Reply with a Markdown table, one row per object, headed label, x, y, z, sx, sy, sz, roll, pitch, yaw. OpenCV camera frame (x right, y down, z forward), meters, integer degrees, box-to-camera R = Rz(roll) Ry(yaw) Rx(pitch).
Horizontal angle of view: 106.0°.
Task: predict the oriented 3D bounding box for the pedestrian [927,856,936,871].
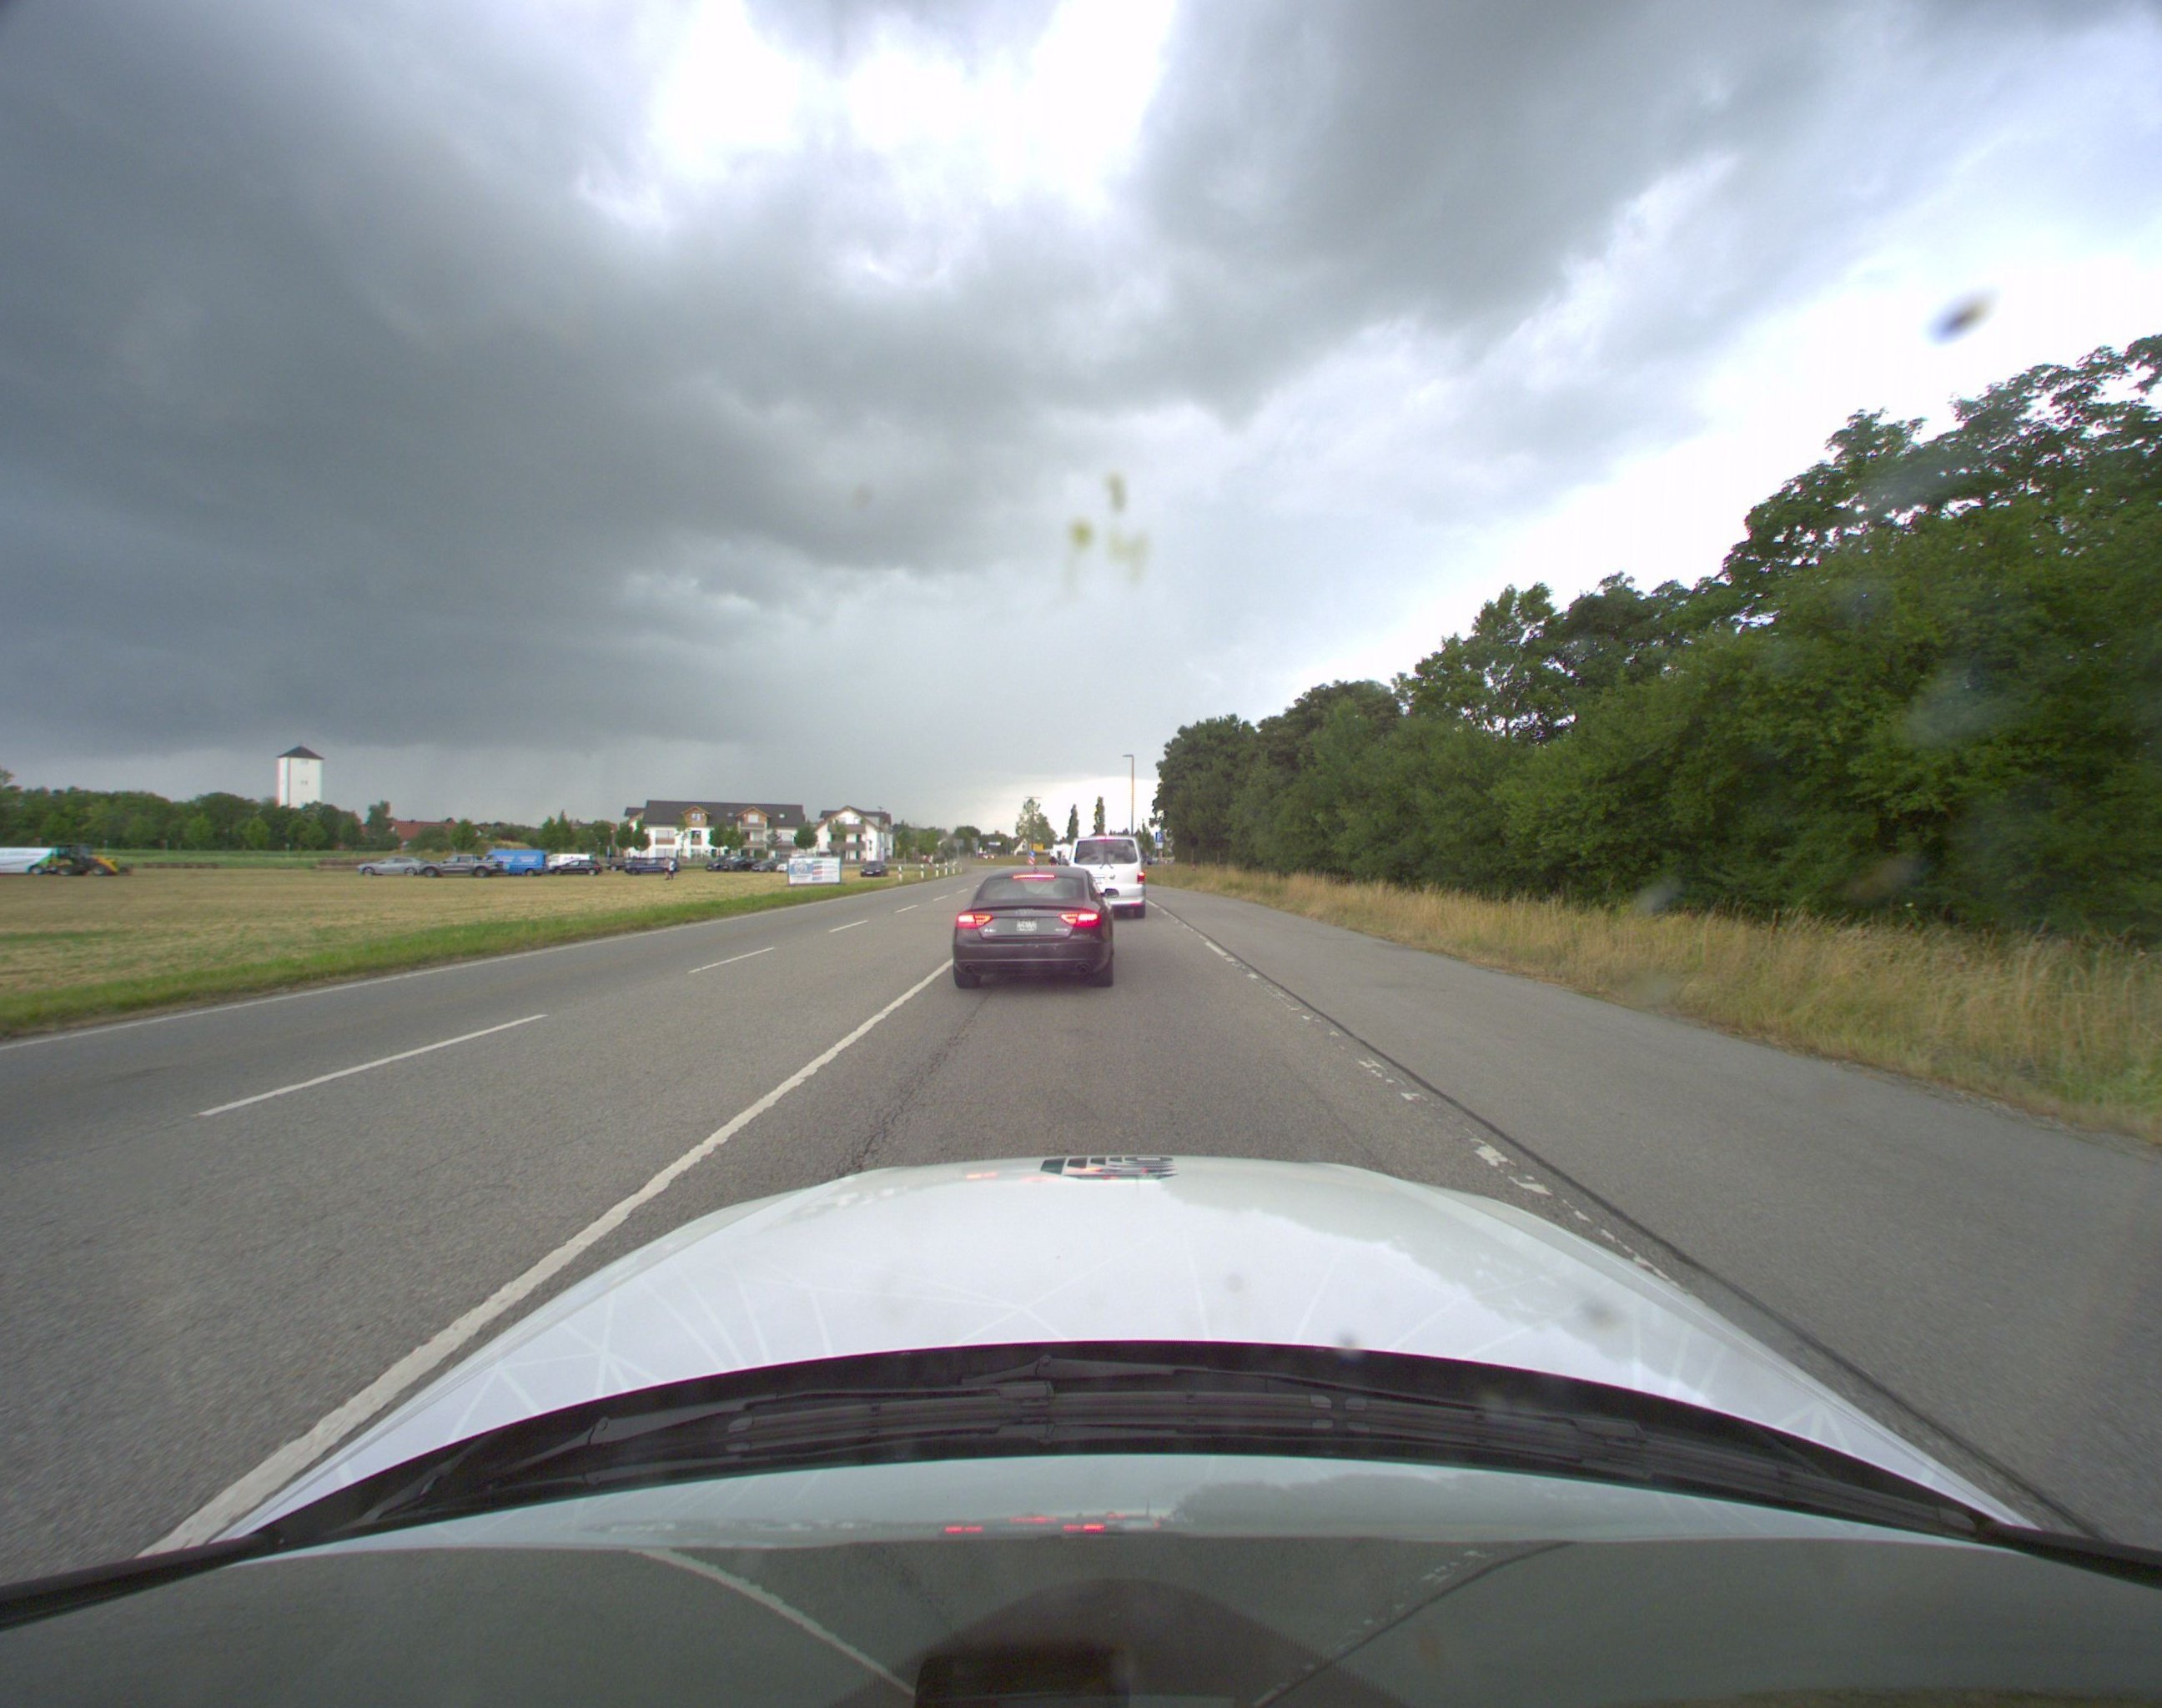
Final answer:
| label | x | y | z | sx | sy | sz | roll | pitch | yaw |
| --- | --- | --- | --- | --- | --- | --- | --- | --- | --- |
| pedestrian | -15.949 | 1.039 | 86.689 | 0.661 | 1.586 | 0.694 | 0 | -1 | -44 |

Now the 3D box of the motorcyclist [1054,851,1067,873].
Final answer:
| label | x | y | z | sx | sy | sz | roll | pitch | yaw |
| --- | --- | --- | --- | --- | --- | --- | --- | --- | --- |
| motorcyclist | -1.309 | 0.510 | 52.794 | 0.769 | 1.383 | 0.821 | 0 | 0 | 3 |

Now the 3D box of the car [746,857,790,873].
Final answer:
| label | x | y | z | sx | sy | sz | roll | pitch | yaw |
| --- | --- | --- | --- | --- | --- | --- | --- | --- | --- |
| car | -31.993 | 1.136 | 83.392 | 1.977 | 1.535 | 4.232 | 0 | 0 | 19 |

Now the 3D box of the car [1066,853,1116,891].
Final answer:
| label | x | y | z | sx | sy | sz | roll | pitch | yaw |
| --- | --- | --- | --- | --- | --- | --- | --- | --- | --- |
| car | 0.418 | 0.728 | 34.064 | 1.987 | 1.485 | 4.000 | 0 | 0 | 0 |

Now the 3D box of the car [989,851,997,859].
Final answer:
| label | x | y | z | sx | sy | sz | roll | pitch | yaw |
| --- | --- | --- | --- | --- | --- | --- | --- | --- | --- |
| car | -21.507 | 0.255 | 198.884 | 1.991 | 2.014 | 3.991 | 1 | 0 | -6 |

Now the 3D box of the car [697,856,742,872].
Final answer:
| label | x | y | z | sx | sy | sz | roll | pitch | yaw |
| --- | --- | --- | --- | --- | --- | --- | --- | --- | --- |
| car | -38.198 | 1.056 | 86.240 | 1.977 | 1.629 | 4.232 | 0 | 0 | 19 |

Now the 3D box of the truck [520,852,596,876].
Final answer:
| label | x | y | z | sx | sy | sz | roll | pitch | yaw |
| --- | --- | --- | --- | --- | --- | --- | --- | --- | --- |
| truck | -49.205 | 0.911 | 76.772 | 5.587 | 2.196 | 2.588 | 0 | 0 | -22 |

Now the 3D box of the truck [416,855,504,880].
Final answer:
| label | x | y | z | sx | sy | sz | roll | pitch | yaw |
| --- | --- | --- | --- | --- | --- | --- | --- | --- | --- |
| truck | -49.479 | 1.039 | 65.048 | 5.253 | 1.920 | 2.094 | 0 | 0 | -26 |

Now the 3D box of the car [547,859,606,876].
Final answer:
| label | x | y | z | sx | sy | sz | roll | pitch | yaw |
| --- | --- | --- | --- | --- | --- | --- | --- | --- | --- |
| car | -45.750 | 1.238 | 73.907 | 4.168 | 1.519 | 1.987 | 0 | 0 | -20 |

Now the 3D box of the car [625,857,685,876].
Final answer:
| label | x | y | z | sx | sy | sz | roll | pitch | yaw |
| --- | --- | --- | --- | --- | --- | --- | --- | --- | --- |
| car | -39.783 | 1.181 | 76.233 | 4.730 | 1.697 | 1.987 | 0 | 0 | -20 |

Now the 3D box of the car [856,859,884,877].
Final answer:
| label | x | y | z | sx | sy | sz | roll | pitch | yaw |
| --- | --- | --- | --- | --- | --- | --- | --- | --- | --- |
| car | -18.064 | 1.147 | 69.973 | 1.993 | 1.442 | 3.987 | 0 | 1 | -10 |

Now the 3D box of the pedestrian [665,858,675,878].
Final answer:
| label | x | y | z | sx | sy | sz | roll | pitch | yaw |
| --- | --- | --- | --- | --- | --- | --- | --- | --- | --- |
| pedestrian | -32.645 | 1.105 | 64.709 | 0.591 | 1.555 | 0.622 | 0 | -1 | -18 |

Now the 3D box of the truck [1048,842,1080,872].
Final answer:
| label | x | y | z | sx | sy | sz | roll | pitch | yaw |
| --- | --- | --- | --- | --- | --- | --- | --- | --- | --- |
| truck | -1.706 | 0.264 | 77.774 | 2.623 | 2.737 | 5.855 | 1 | 0 | -6 |

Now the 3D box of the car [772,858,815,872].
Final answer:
| label | x | y | z | sx | sy | sz | roll | pitch | yaw |
| --- | --- | --- | --- | --- | --- | --- | --- | --- | --- |
| car | -29.246 | 1.105 | 82.957 | 1.977 | 1.446 | 4.232 | 0 | 0 | 19 |

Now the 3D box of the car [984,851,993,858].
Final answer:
| label | x | y | z | sx | sy | sz | roll | pitch | yaw |
| --- | --- | --- | --- | --- | --- | --- | --- | --- | --- |
| car | -23.612 | 0.083 | 207.948 | 1.989 | 1.642 | 3.995 | 1 | 0 | -3 |

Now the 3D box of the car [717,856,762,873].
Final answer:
| label | x | y | z | sx | sy | sz | roll | pitch | yaw |
| --- | --- | --- | --- | --- | --- | --- | --- | --- | --- |
| car | -35.135 | 1.067 | 83.874 | 1.977 | 1.629 | 4.232 | 0 | 0 | 19 |

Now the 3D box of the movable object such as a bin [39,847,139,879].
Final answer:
| label | x | y | z | sx | sy | sz | roll | pitch | yaw |
| --- | --- | --- | --- | --- | --- | --- | --- | --- | --- |
| movable object such as a bin | -69.768 | 0.612 | 57.358 | 4.006 | 2.243 | 1.869 | 0 | 0 | -27 |

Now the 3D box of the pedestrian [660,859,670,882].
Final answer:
| label | x | y | z | sx | sy | sz | roll | pitch | yaw |
| --- | --- | --- | --- | --- | --- | --- | --- | --- | --- |
| pedestrian | -32.519 | 1.276 | 63.641 | 0.548 | 1.786 | 0.675 | 0 | 0 | -11 |

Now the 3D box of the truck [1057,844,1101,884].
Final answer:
| label | x | y | z | sx | sy | sz | roll | pitch | yaw |
| --- | --- | --- | --- | --- | --- | --- | --- | --- | --- |
| truck | -0.025 | 0.514 | 43.371 | 2.186 | 2.014 | 5.086 | 0 | 0 | 1 |

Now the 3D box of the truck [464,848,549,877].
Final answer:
| label | x | y | z | sx | sy | sz | roll | pitch | yaw |
| --- | --- | --- | --- | --- | --- | --- | --- | --- | --- |
| truck | -48.683 | 0.690 | 69.167 | 5.469 | 2.446 | 2.376 | 0 | 0 | -22 |

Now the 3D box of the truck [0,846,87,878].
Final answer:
| label | x | y | z | sx | sy | sz | roll | pitch | yaw |
| --- | --- | --- | --- | --- | --- | --- | --- | --- | --- |
| truck | -76.285 | 0.568 | 58.142 | 6.076 | 2.217 | 2.697 | 0 | 0 | -27 |

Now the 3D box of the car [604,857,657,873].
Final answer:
| label | x | y | z | sx | sy | sz | roll | pitch | yaw |
| --- | --- | --- | --- | --- | --- | --- | --- | --- | --- |
| car | -48.434 | 1.143 | 87.654 | 4.640 | 1.697 | 1.987 | 0 | 0 | -20 |

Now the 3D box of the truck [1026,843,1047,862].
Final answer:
| label | x | y | z | sx | sy | sz | roll | pitch | yaw |
| --- | --- | --- | --- | --- | --- | --- | --- | --- | --- |
| truck | -8.692 | -0.348 | 157.671 | 3.572 | 3.578 | 9.935 | 1 | 0 | -6 |

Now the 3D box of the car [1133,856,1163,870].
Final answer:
| label | x | y | z | sx | sy | sz | roll | pitch | yaw |
| --- | --- | --- | --- | --- | --- | --- | --- | --- | --- |
| car | 9.957 | 1.392 | 120.735 | 3.953 | 2.014 | 2.010 | 0 | 0 | 21 |

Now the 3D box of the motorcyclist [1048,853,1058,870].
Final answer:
| label | x | y | z | sx | sy | sz | roll | pitch | yaw |
| --- | --- | --- | --- | --- | --- | --- | --- | --- | --- |
| motorcyclist | -2.283 | 0.612 | 66.463 | 0.783 | 1.356 | 0.854 | 0 | 0 | 1 |

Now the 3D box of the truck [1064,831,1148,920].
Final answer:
| label | x | y | z | sx | sy | sz | roll | pitch | yaw |
| --- | --- | --- | --- | --- | --- | --- | --- | --- | --- |
| truck | 0.625 | 0.481 | 20.683 | 1.897 | 1.998 | 4.629 | 0 | 0 | 1 |

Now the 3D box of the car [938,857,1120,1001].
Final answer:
| label | x | y | z | sx | sy | sz | roll | pitch | yaw |
| --- | --- | --- | --- | --- | --- | --- | --- | --- | --- |
| car | -0.475 | 0.784 | 10.524 | 1.868 | 1.454 | 4.178 | -1 | 0 | 2 |

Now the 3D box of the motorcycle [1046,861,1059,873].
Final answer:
| label | x | y | z | sx | sy | sz | roll | pitch | yaw |
| --- | --- | --- | --- | --- | --- | --- | --- | --- | --- |
| motorcycle | -2.290 | 1.052 | 66.296 | 0.941 | 1.019 | 2.285 | 0 | 0 | 1 |

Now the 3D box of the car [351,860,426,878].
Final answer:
| label | x | y | z | sx | sy | sz | roll | pitch | yaw |
| --- | --- | --- | --- | --- | --- | --- | --- | --- | --- |
| car | -56.333 | 1.198 | 66.360 | 4.316 | 1.461 | 1.876 | 0 | 0 | -26 |

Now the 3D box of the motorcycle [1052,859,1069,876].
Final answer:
| label | x | y | z | sx | sy | sz | roll | pitch | yaw |
| --- | --- | --- | --- | --- | --- | --- | --- | --- | --- |
| motorcycle | -1.315 | 0.879 | 52.894 | 0.916 | 1.094 | 2.190 | 0 | 0 | 3 |
